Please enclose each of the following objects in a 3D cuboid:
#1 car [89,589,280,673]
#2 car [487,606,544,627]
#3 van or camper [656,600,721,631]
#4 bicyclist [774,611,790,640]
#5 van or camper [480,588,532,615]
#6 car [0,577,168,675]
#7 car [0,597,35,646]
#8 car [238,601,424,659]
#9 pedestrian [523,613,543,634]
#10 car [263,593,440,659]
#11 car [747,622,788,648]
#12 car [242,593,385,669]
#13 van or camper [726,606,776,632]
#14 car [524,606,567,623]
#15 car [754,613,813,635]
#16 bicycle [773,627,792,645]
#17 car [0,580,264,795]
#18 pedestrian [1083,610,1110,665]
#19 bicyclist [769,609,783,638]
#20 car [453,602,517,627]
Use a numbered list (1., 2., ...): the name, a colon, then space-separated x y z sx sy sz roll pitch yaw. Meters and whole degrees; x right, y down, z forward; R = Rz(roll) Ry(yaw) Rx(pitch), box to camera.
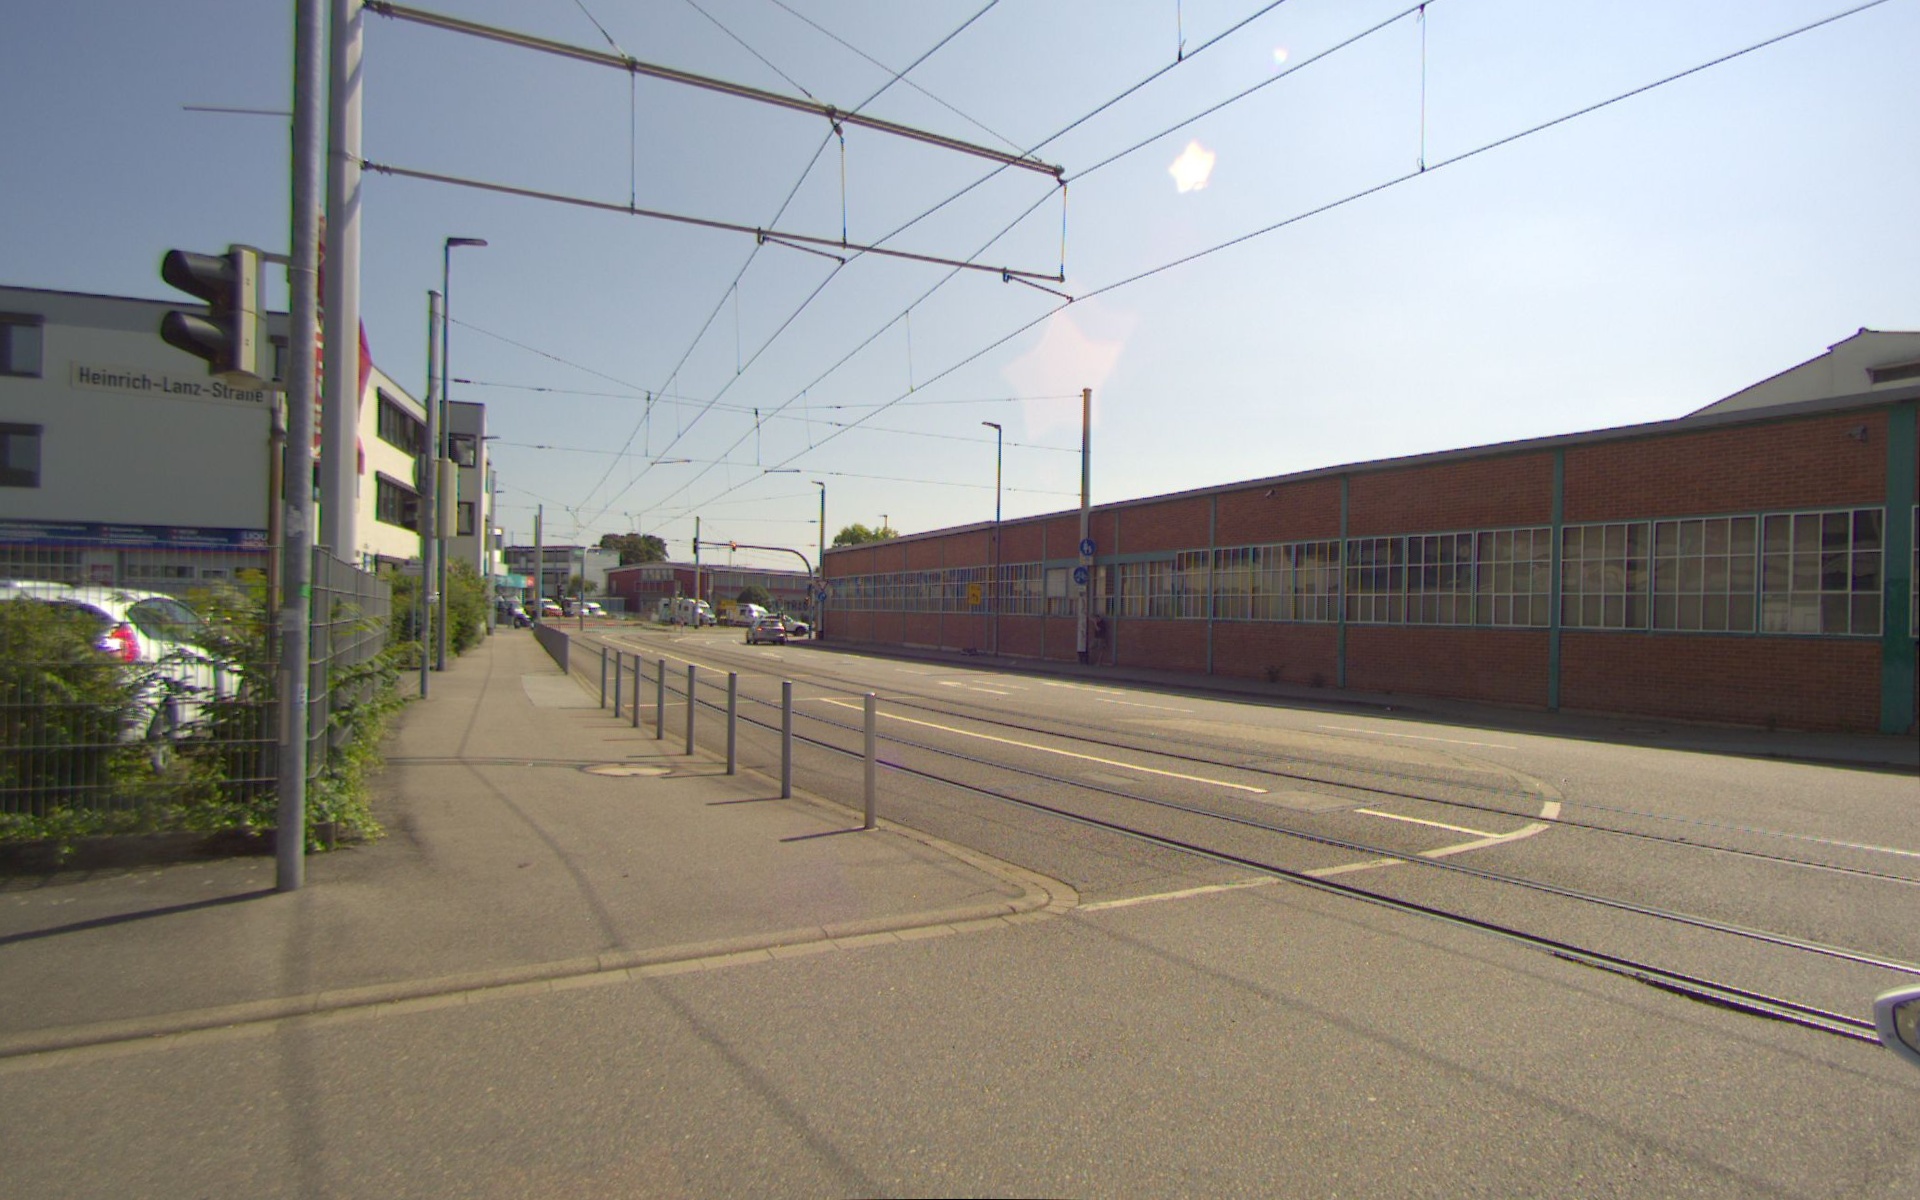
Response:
1. car: -16.063 0.624 21.074 1.827 1.589 3.921 1 -1 -16
2. car: -35.979 1.343 81.449 3.935 1.528 1.873 2 -1 -17
3. van or camper: -29.815 1.669 110.226 6.853 2.970 2.352 3 1 25
4. bicyclist: -11.189 1.587 63.102 0.776 1.744 1.141 2 -1 -20
5. van or camper: -44.014 0.143 97.291 5.718 2.327 2.030 3 1 37
6. car: -18.227 0.500 20.371 1.967 1.808 3.987 1 -1 -16
7. car: -29.003 0.636 29.416 1.397 1.445 3.125 1 -1 -12
8. car: -16.162 0.782 26.047 3.780 1.388 1.739 2 -1 -21
9. pedestrian: -30.897 1.674 72.687 1.122 1.474 0.830 2 -1 -34
10. car: -16.941 0.735 28.217 3.942 1.728 1.989 1 -1 -23
11. car: -11.212 2.012 58.383 1.725 1.478 3.982 1 -1 -20
12. car: -14.463 0.675 22.710 1.713 1.562 3.822 1 -1 -17
13. van or camper: -23.689 2.120 113.969 5.290 2.473 2.285 5 2 30
14. car: -46.114 1.621 111.727 5.035 1.782 1.939 0 -1 33
15. car: -13.861 1.869 78.959 4.325 1.599 1.992 1 -1 -18
16. bicycle: -11.208 2.267 63.353 0.785 1.035 2.141 2 -1 -20
17. car: -7.390 0.630 8.543 1.690 1.452 3.931 2 -2 -25
18. pedestrian: 4.539 1.246 33.426 0.676 1.788 0.447 2 1 -20
19. bicyclist: -11.927 1.521 65.181 0.699 1.834 0.978 2 -1 -21
20. car: -33.972 1.034 71.946 3.941 1.539 1.990 2 1 -21
